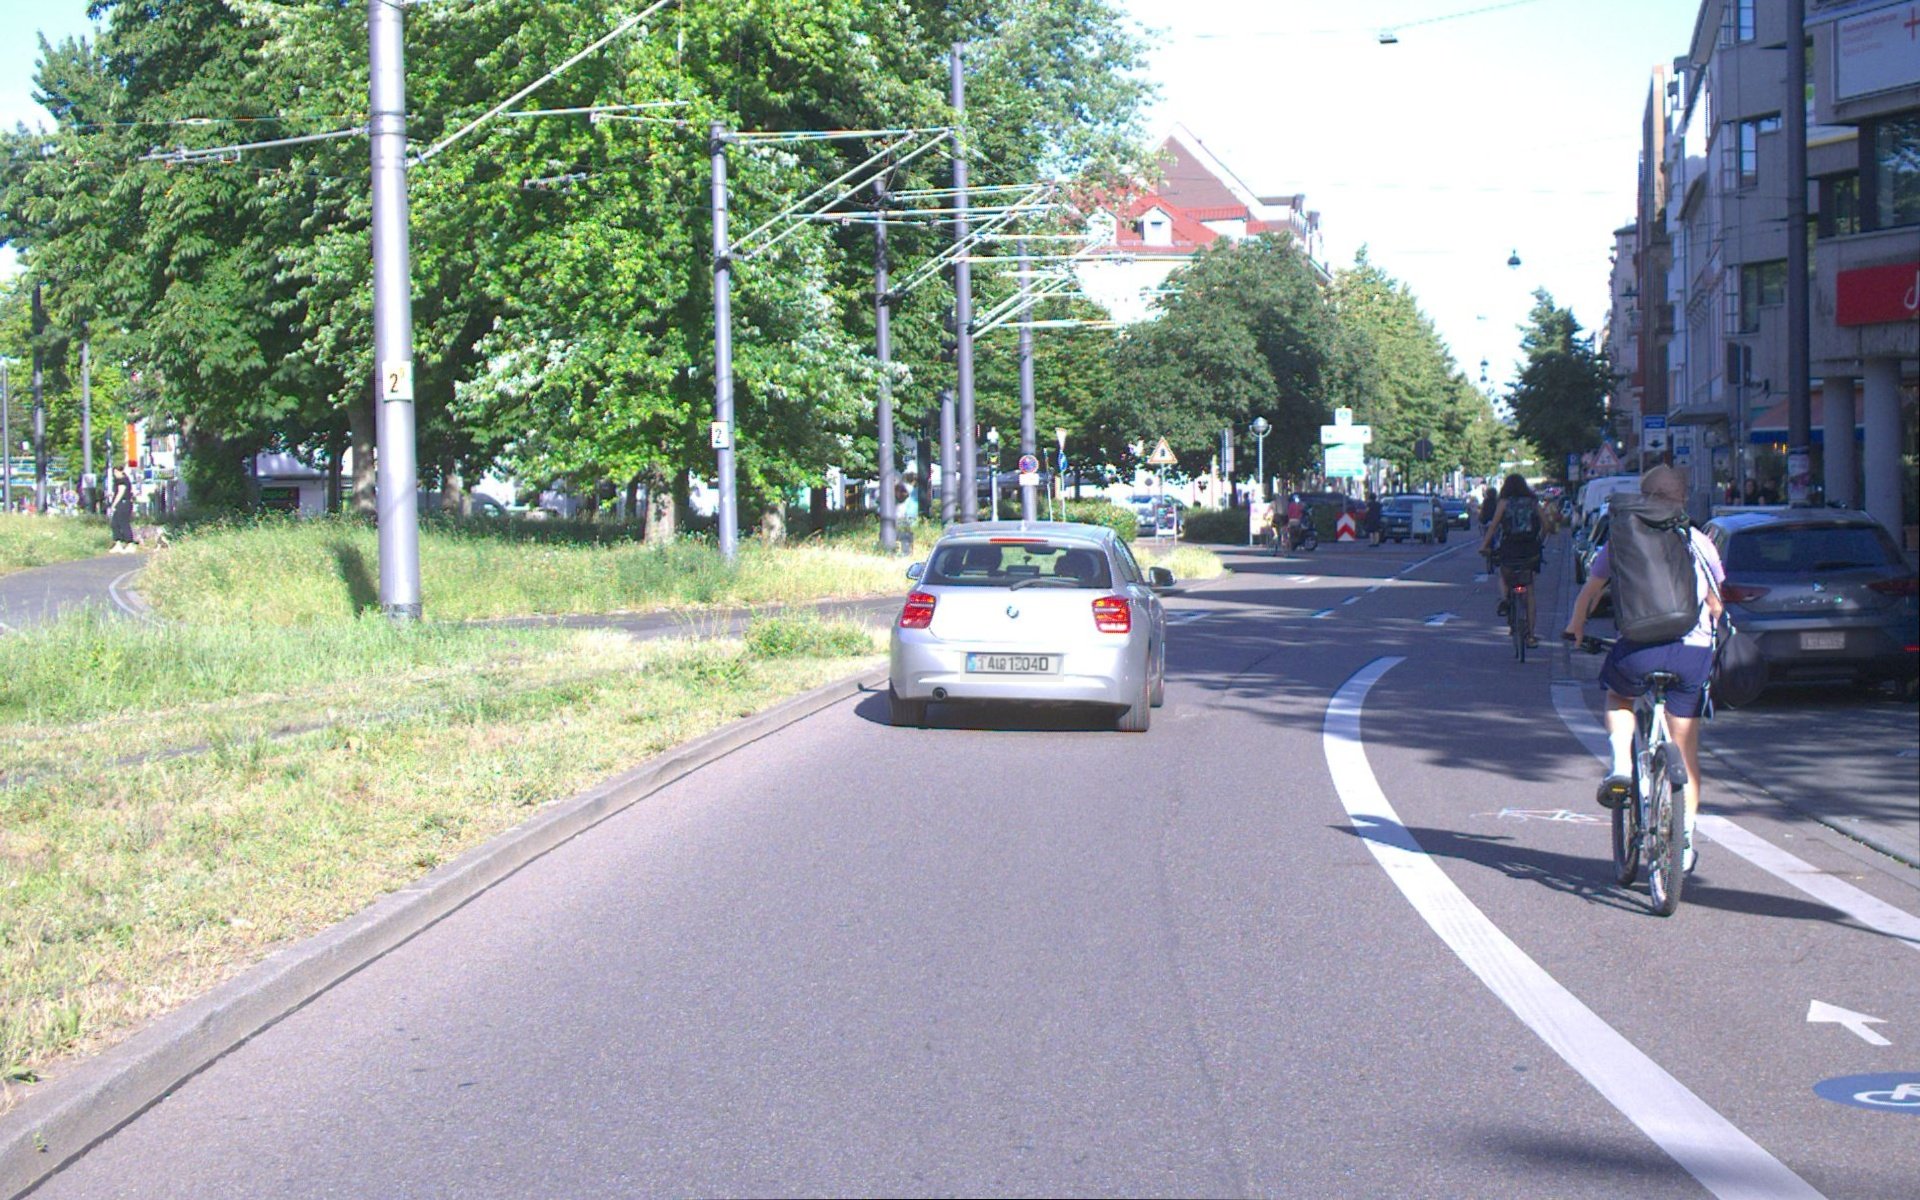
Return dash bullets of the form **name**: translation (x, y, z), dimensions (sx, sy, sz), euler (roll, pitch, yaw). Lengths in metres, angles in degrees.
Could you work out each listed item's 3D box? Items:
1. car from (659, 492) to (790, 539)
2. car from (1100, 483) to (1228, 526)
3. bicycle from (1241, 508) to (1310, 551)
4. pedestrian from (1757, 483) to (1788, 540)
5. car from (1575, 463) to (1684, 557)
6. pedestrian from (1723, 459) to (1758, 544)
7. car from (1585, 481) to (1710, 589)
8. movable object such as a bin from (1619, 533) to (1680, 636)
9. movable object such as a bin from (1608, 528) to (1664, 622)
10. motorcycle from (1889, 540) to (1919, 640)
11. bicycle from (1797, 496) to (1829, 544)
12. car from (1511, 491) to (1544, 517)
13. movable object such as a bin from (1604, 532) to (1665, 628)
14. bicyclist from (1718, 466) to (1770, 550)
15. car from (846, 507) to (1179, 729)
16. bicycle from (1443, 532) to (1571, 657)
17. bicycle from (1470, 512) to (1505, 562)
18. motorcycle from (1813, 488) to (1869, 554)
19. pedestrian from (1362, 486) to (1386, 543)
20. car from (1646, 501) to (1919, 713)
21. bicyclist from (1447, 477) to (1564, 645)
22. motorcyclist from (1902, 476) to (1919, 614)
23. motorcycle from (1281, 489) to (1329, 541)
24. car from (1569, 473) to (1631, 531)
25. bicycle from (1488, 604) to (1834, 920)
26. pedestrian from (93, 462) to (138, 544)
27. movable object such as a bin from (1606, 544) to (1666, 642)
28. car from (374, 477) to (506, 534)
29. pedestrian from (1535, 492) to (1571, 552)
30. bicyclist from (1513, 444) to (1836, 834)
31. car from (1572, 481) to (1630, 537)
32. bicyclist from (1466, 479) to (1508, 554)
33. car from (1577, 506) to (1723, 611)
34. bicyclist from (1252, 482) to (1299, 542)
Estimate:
- **car**: translation (-10.530, -3.790, 153.847), dimensions (5.574, 2.007, 1.818), euler (1, 1, -16)
- **car**: translation (9.123, -4.258, 153.896), dimensions (5.262, 1.793, 2.164), euler (1, 1, -16)
- **bicycle**: translation (8.018, -1.794, 87.546), dimensions (0.809, 1.065, 2.584), euler (1, 1, -17)
- **pedestrian**: translation (18.032, -1.958, 76.273), dimensions (0.630, 1.232, 0.624), euler (-2, 0, 13)
- **car**: translation (13.351, -1.772, 68.715), dimensions (1.994, 1.806, 4.308), euler (1, 1, 10)
- **pedestrian**: translation (17.367, -2.184, 76.480), dimensions (0.671, 1.850, 0.610), euler (-3, 0, 14)
- **car**: translation (11.150, -1.049, 55.964), dimensions (1.852, 1.683, 3.866), euler (1, 1, 10)
- **movable object such as a bin**: translation (7.352, -0.172, 36.686), dimensions (0.573, 1.078, 0.570), euler (1, 1, 7)
- **movable object such as a bin**: translation (7.933, -0.297, 40.368), dimensions (0.592, 1.080, 0.604), euler (1, 1, 7)
- **motorcycle**: translation (11.208, -0.112, 38.908), dimensions (0.776, 1.122, 2.298), euler (1, 1, 1)
- **bicycle**: translation (18.407, -1.721, 74.218), dimensions (0.563, 1.031, 1.644), euler (1, 1, 11)
- **car**: translation (34.616, -5.858, 209.761), dimensions (1.871, 1.550, 3.998), euler (1, 1, 11)
- **movable object such as a bin**: translation (7.559, -0.227, 38.562), dimensions (0.606, 1.065, 0.613), euler (1, 1, 6)
- **bicyclist**: translation (12.524, -1.467, 54.943), dimensions (0.758, 1.322, 0.994), euler (1, 1, 12)
- **car**: translation (0.471, 0.082, 24.578), dimensions (1.994, 1.418, 4.196), euler (1, 1, 6)
- **bicycle**: translation (5.379, -0.068, 33.920), dimensions (0.819, 1.181, 1.965), euler (1, 1, -3)
- **bicycle**: translation (10.353, -1.230, 67.534), dimensions (0.653, 0.955, 2.697), euler (1, 1, 9)
- **motorcycle**: translation (16.205, -1.445, 63.231), dimensions (0.764, 1.151, 2.045), euler (-3, 0, 20)
- **pedestrian**: translation (12.074, -2.493, 100.322), dimensions (0.636, 1.666, 0.692), euler (1, 1, 11)
- **car**: translation (6.400, -0.010, 26.779), dimensions (1.766, 1.433, 4.582), euler (-1, 2, 8)
- **bicyclist**: translation (5.390, -0.391, 34.024), dimensions (0.939, 1.627, 0.935), euler (1, 1, -3)
- **motorcyclist**: translation (11.224, -0.618, 38.870), dimensions (0.897, 1.546, 0.806), euler (1, 1, 1)
- **motorcycle**: translation (9.387, -2.311, 93.591), dimensions (0.745, 1.369, 1.761), euler (1, 1, -13)
- **car**: translation (22.598, -3.474, 121.537), dimensions (1.994, 1.998, 5.116), euler (0, 2, 9)
- **bicycle**: translation (2.797, 0.610, 13.986), dimensions (0.885, 1.132, 2.229), euler (1, 1, -1)
- **pedestrian**: translation (-16.846, -1.937, 68.586), dimensions (0.673, 1.610, 0.555), euler (0, 1, -42)
- **movable object such as a bin**: translation (7.464, -0.077, 37.982), dimensions (0.591, 1.065, 0.496), euler (1, 1, 7)
- **car**: translation (-22.052, -3.984, 145.742), dimensions (5.334, 2.306, 2.001), euler (1, 1, -13)
- **pedestrian**: translation (16.710, -2.201, 96.910), dimensions (0.667, 1.693, 0.805), euler (0, 1, -21)
- **bicyclist**: translation (2.820, 0.142, 13.679), dimensions (1.038, 1.479, 0.988), euler (1, 1, -1)
- **car**: translation (20.740, -2.922, 111.325), dimensions (1.746, 1.733, 4.958), euler (1, 1, 10)
- **bicyclist**: translation (10.331, -1.630, 67.388), dimensions (0.786, 1.448, 1.095), euler (1, 1, 9)
- **car**: translation (9.482, -0.569, 47.065), dimensions (1.852, 1.339, 4.597), euler (1, 1, 12)
- **bicyclist**: translation (8.032, -2.230, 87.500), dimensions (0.928, 1.502, 0.826), euler (1, 1, -17)
